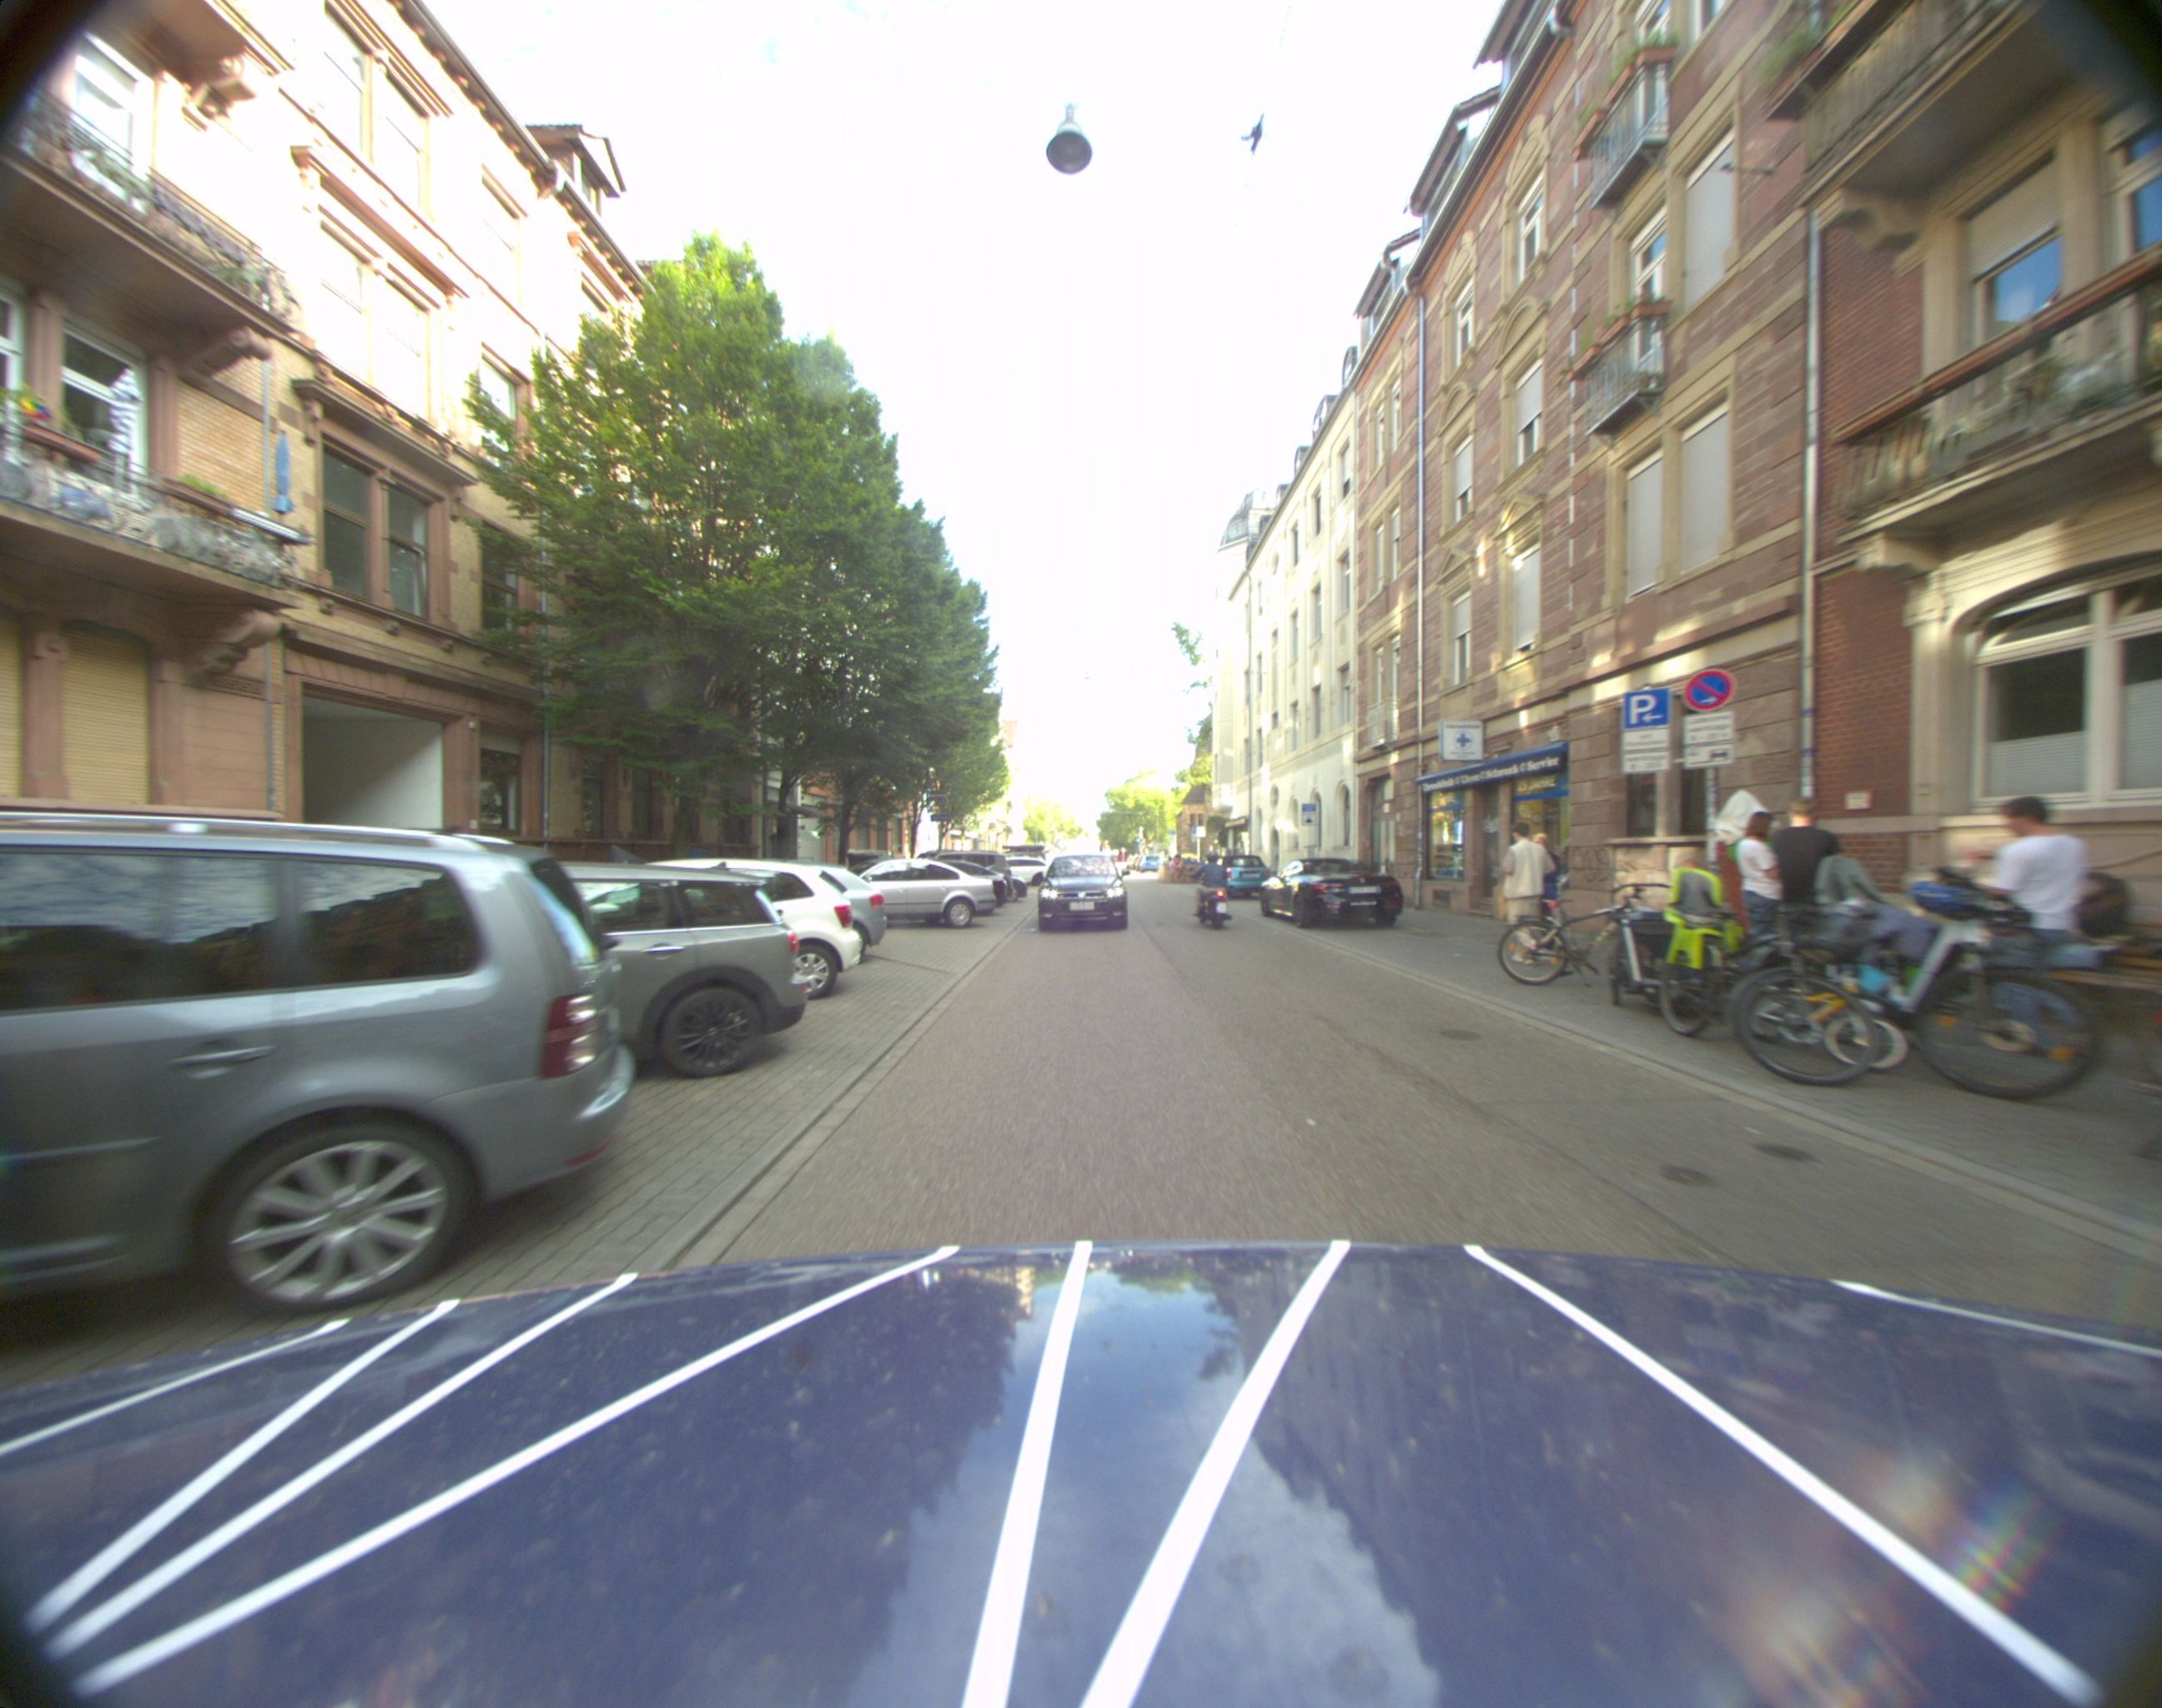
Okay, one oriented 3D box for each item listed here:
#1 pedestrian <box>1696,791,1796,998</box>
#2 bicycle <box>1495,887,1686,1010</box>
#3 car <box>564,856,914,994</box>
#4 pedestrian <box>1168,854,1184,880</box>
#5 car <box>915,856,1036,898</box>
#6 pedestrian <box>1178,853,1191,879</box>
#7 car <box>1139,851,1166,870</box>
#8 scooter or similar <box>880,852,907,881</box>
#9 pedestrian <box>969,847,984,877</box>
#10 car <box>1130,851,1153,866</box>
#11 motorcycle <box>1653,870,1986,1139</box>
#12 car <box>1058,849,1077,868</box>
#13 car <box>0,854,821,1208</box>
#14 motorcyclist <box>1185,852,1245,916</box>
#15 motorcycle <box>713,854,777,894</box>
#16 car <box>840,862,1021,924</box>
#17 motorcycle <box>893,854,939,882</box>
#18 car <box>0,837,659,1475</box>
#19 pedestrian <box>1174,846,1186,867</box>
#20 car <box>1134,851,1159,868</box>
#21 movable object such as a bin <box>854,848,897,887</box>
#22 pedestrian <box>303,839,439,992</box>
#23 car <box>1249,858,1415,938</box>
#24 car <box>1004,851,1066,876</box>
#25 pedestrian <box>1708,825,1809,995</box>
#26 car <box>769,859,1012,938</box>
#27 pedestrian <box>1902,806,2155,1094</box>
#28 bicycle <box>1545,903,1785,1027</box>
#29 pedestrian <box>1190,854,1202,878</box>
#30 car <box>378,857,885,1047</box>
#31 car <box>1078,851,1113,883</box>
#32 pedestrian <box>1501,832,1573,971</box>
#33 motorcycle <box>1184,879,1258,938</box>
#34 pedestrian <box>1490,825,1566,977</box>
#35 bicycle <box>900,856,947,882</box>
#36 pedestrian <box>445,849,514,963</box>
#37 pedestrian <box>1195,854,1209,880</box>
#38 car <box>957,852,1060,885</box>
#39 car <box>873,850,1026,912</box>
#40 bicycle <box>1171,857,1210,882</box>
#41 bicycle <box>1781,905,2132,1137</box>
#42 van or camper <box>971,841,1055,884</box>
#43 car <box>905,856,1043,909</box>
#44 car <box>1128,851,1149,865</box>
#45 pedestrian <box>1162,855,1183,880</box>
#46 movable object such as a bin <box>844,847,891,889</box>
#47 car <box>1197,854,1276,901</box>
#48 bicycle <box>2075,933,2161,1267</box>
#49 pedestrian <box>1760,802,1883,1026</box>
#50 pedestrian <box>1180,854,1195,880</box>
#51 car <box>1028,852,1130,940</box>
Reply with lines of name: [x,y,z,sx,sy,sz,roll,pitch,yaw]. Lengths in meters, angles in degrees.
pedestrian: [6.774,0.391,7.768,0.643,2.002,0.631,-1,1,29]
bicycle: [5.163,0.913,7.764,1.577,1.110,0.375,-1,1,39]
car: [-4.545,0.826,10.273,4.008,1.453,1.882,1,1,-35]
pedestrian: [5.040,0.676,40.295,0.738,1.341,0.644,-1,1,3]
car: [-3.857,0.830,27.754,4.006,1.430,1.721,2,0,-26]
pedestrian: [5.591,0.643,41.085,0.668,1.328,0.740,-1,1,7]
car: [5.824,0.498,62.367,1.828,1.477,4.170,-1,0,1]
scooter or similar: [-8.805,0.577,35.653,0.526,1.306,1.317,3,1,-44]
pedestrian: [-6.267,0.491,45.713,0.754,1.729,0.952,3,1,-4]
car: [5.889,0.429,74.639,1.911,1.412,4.000,-1,0,1]
motorcycle: [4.744,0.836,5.122,0.708,1.376,2.026,-1,0,15]
car: [-1.461,0.439,82.288,1.810,1.914,4.000,-2,0,2]
car: [-4.069,0.843,5.061,4.008,1.539,1.864,2,0,-36]
motorcyclist: [2.742,0.599,15.646,1.016,1.238,0.802,-1,1,-5]
motorcycle: [-10.719,0.611,24.346,0.896,1.180,2.491,-1,0,0]
car: [-3.787,0.916,19.358,4.146,1.409,1.864,0,0,-35]
motorcycle: [-8.039,0.660,37.027,1.984,1.220,0.827,3,1,-1]
car: [-3.770,0.805,2.616,4.007,1.731,1.835,1,0,-30]
pedestrian: [8.149,0.212,62.588,0.845,1.699,0.879,-1,1,1]
car: [5.897,0.499,68.311,1.911,1.412,4.000,-1,0,1]
movable object such as a bin: [-8.349,0.548,30.875,1.375,1.438,1.037,5,1,-2]
pedestrian: [-7.895,0.648,8.493,0.733,1.625,0.833,1,2,-2]
car: [5.071,0.813,16.181,1.816,1.343,5.114,-1,0,0]
car: [-3.321,0.655,54.927,4.006,1.663,1.923,-2,1,-31]
pedestrian: [7.340,0.574,8.265,0.688,1.749,0.667,-1,1,31]
car: [-3.954,0.879,16.009,4.620,1.443,1.788,2,0,-31]
pedestrian: [6.284,0.583,5.106,0.605,1.741,0.946,-1,1,13]
bicycle: [5.250,0.976,6.935,1.683,1.024,0.410,-1,1,21]
pedestrian: [6.210,0.645,40.970,0.597,1.236,0.694,-1,1,7]
car: [-4.282,0.858,7.802,4.008,1.442,1.731,3,1,-31]
car: [0.827,0.691,41.947,1.810,1.622,4.000,-2,0,2]
pedestrian: [6.036,0.601,10.068,0.761,1.749,0.667,-1,1,31]
motorcycle: [2.786,1.058,15.457,0.796,0.989,2.498,-2,0,-6]
pedestrian: [5.603,0.567,9.536,0.761,1.808,0.667,-1,1,31]
bicycle: [-7.495,0.718,36.211,2.025,1.089,0.820,4,1,0]
pedestrian: [-8.359,0.687,10.589,0.721,1.493,1.001,0,0,-37]
pedestrian: [6.282,0.668,39.596,0.637,1.364,0.684,-1,1,4]
car: [-3.651,0.737,38.573,4.817,1.535,1.866,2,1,-31]
car: [-3.815,0.745,22.286,4.007,1.689,1.848,0,0,-34]
bicycle: [5.533,0.785,38.585,1.872,1.168,0.688,-1,1,2]
bicycle: [5.430,0.942,4.896,0.579,1.084,1.740,-1,0,14]
van or camper: [-3.696,0.428,41.113,4.006,2.166,1.995,-2,1,-30]
car: [-3.494,0.874,25.114,4.133,1.512,1.840,-2,2,-36]
car: [6.164,0.368,81.889,1.911,1.412,4.000,-1,0,1]
pedestrian: [5.177,0.730,42.897,1.088,1.365,0.895,-1,1,9]
movable object such as a bin: [-8.358,0.547,29.751,1.375,1.451,1.164,7,0,-2]
car: [5.170,0.736,25.782,1.674,1.407,4.011,-1,0,-3]
bicycle: [4.749,0.977,3.223,1.573,1.114,0.589,-2,1,-35]
pedestrian: [6.582,0.507,6.785,0.646,1.881,0.602,-1,1,31]
pedestrian: [5.582,0.674,39.710,0.689,1.365,0.739,-1,1,4]
car: [0.095,0.816,16.921,1.874,1.644,4.388,-1,0,4]
